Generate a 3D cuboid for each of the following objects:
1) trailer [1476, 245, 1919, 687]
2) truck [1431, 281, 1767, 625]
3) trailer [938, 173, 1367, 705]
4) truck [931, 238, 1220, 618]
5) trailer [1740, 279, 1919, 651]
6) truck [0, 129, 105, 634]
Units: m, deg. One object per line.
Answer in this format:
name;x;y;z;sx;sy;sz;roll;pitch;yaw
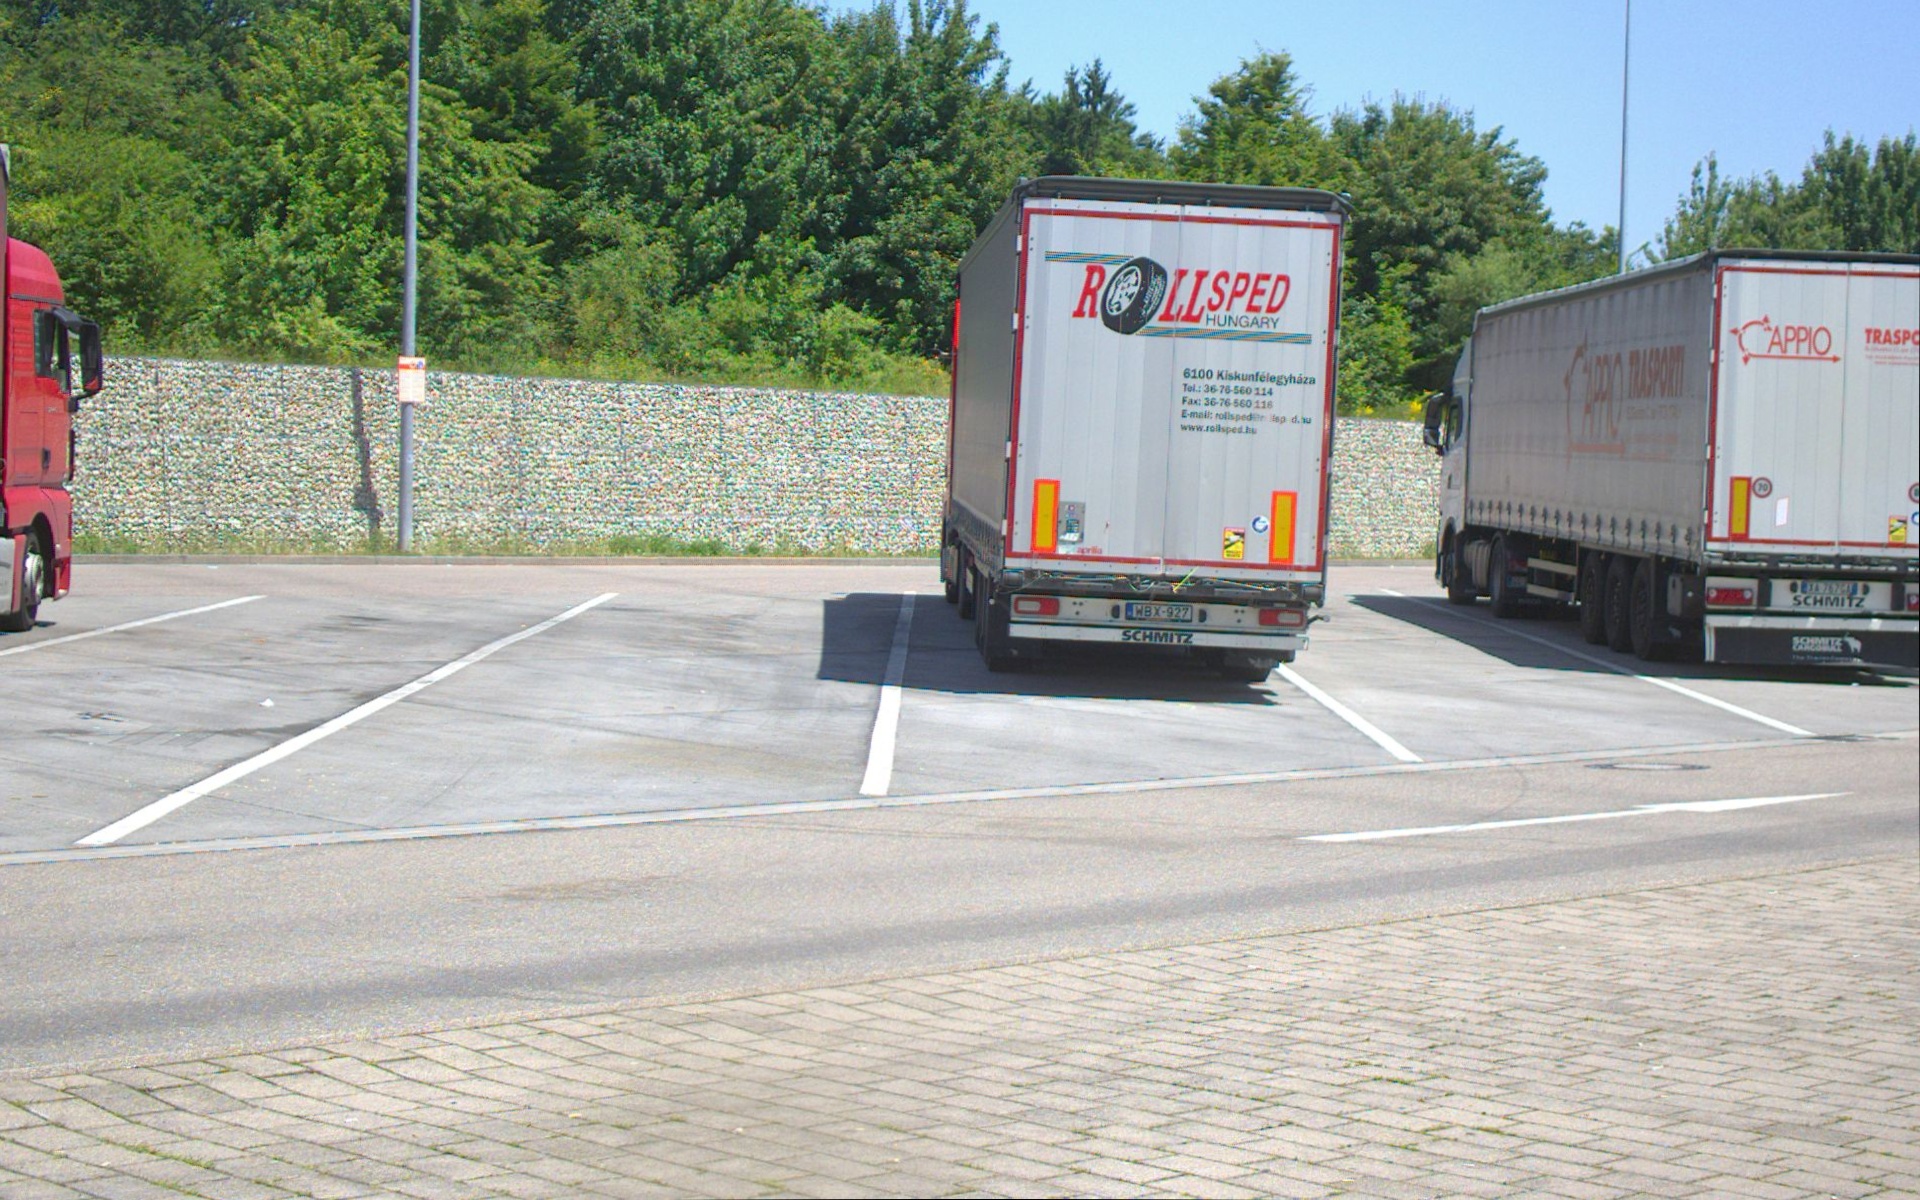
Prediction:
trailer;8.179;-1.567;37.994;2.866;4.023;12.439;2;3;0
truck;8.119;-1.951;44.621;2.866;4.023;6.957;2;3;0
trailer;1.435;-1.635;33.655;2.866;4.023;14.243;2;3;-2
truck;1.222;-2.055;40.734;2.866;4.023;7.028;2;3;-2
trailer;11.834;-1.527;39.059;2.866;4.023;12.439;2;3;0
truck;-9.151;-1.812;28.015;2.696;4.099;6.240;2;3;0
